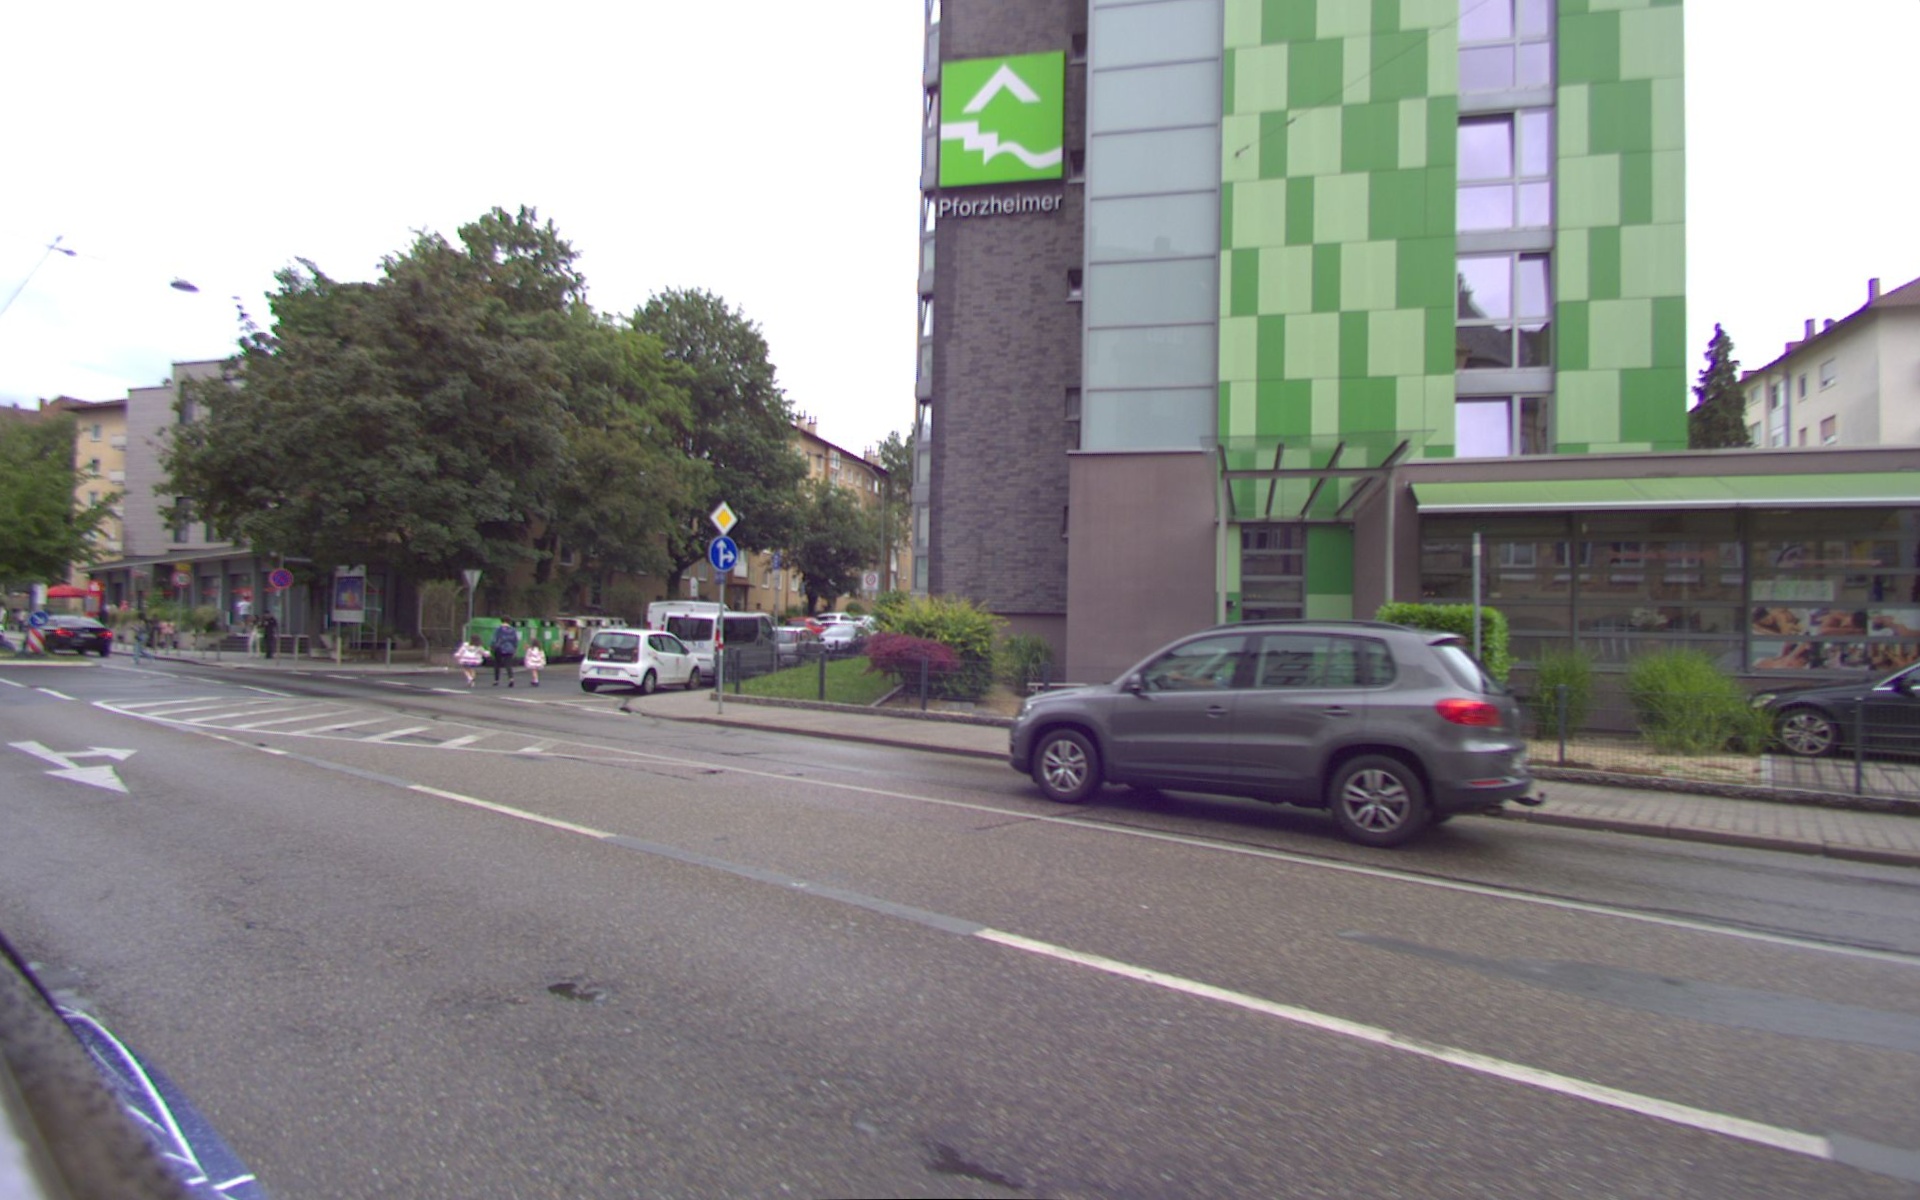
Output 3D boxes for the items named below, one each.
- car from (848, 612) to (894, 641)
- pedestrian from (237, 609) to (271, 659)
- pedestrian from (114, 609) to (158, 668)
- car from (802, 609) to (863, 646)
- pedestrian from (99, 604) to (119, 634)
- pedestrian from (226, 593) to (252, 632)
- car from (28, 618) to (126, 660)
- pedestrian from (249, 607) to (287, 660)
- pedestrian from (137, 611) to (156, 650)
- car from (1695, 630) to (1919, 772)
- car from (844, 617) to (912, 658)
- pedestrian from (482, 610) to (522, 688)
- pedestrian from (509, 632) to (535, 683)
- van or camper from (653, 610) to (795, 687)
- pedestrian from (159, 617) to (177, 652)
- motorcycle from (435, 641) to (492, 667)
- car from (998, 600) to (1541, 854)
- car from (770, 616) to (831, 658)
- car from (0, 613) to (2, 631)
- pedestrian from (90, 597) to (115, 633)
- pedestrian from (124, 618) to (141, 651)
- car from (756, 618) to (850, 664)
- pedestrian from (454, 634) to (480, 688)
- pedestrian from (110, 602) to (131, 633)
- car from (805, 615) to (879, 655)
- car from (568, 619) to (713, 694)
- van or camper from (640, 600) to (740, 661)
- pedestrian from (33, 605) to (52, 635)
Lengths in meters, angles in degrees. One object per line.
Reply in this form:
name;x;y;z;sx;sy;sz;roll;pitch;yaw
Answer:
car;-5.614;1.692;64.164;1.978;1.764;3.988;1;-2;10
pedestrian;-25.628;1.241;36.737;0.714;1.772;0.654;0;-2;15
pedestrian;-25.949;1.217;31.878;0.847;1.840;0.719;-1;-2;16
car;-7.270;1.612;58.083;1.983;2.029;3.976;0;-2;18
pedestrian;-48.544;1.102;57.759;0.712;1.691;0.707;-1;-2;38
pedestrian;-34.498;0.603;48.429;0.714;1.840;0.721;0;-2;11
car;-33.090;1.434;37.896;4.495;1.436;1.994;0;-2;39
pedestrian;-24.945;1.201;36.486;0.690;1.859;0.855;0;-2;24
pedestrian;-35.232;1.328;43.827;0.551;1.686;0.493;0;-2;35
car;10.958;1.088;10.901;1.970;1.450;4.656;3;-3;-43
car;-3.673;1.716;46.102;1.980;1.741;3.983;1;-2;13
pedestrian;-10.652;1.133;23.544;0.579;1.775;0.569;0;-2;32
pedestrian;-10.389;1.358;24.021;0.357;1.207;0.406;0;-2;32
van or camper;-6.638;1.295;29.120;1.981;2.029;4.945;0;-1;14
pedestrian;-34.586;1.505;44.191;0.529;1.484;0.455;0;-2;35
motorcycle;-20.871;2.256;42.555;2.025;0.995;0.798;-1;0;-36
car;2.547;0.936;8.680;4.049;1.672;1.931;-1;-5;36
car;-8.291;1.878;52.961;1.978;2.029;3.987;0;0;11
car;-46.135;1.322;46.902;4.083;1.581;1.802;-1;-6;38
pedestrian;-44.528;0.775;52.556;0.716;1.840;0.718;-1;-2;20
pedestrian;-35.517;1.486;43.433;0.480;1.421;0.429;0;-2;35
car;-5.331;1.400;34.820;1.980;1.454;3.713;1;-2;13
pedestrian;-11.198;1.376;23.001;0.310;1.207;0.406;0;-2;32
pedestrian;-47.406;0.999;57.159;0.701;1.691;0.803;1;-2;-24
car;-4.616;1.378;40.172;1.677;1.475;3.983;1;-2;13
car;-7.532;1.283;24.205;1.723;1.581;3.575;2;-1;12
van or camper;-10.705;1.143;40.498;2.187;2.283;4.605;-1;0;9
pedestrian;-56.089;1.243;61.860;0.867;1.833;0.585;0;-2;30
